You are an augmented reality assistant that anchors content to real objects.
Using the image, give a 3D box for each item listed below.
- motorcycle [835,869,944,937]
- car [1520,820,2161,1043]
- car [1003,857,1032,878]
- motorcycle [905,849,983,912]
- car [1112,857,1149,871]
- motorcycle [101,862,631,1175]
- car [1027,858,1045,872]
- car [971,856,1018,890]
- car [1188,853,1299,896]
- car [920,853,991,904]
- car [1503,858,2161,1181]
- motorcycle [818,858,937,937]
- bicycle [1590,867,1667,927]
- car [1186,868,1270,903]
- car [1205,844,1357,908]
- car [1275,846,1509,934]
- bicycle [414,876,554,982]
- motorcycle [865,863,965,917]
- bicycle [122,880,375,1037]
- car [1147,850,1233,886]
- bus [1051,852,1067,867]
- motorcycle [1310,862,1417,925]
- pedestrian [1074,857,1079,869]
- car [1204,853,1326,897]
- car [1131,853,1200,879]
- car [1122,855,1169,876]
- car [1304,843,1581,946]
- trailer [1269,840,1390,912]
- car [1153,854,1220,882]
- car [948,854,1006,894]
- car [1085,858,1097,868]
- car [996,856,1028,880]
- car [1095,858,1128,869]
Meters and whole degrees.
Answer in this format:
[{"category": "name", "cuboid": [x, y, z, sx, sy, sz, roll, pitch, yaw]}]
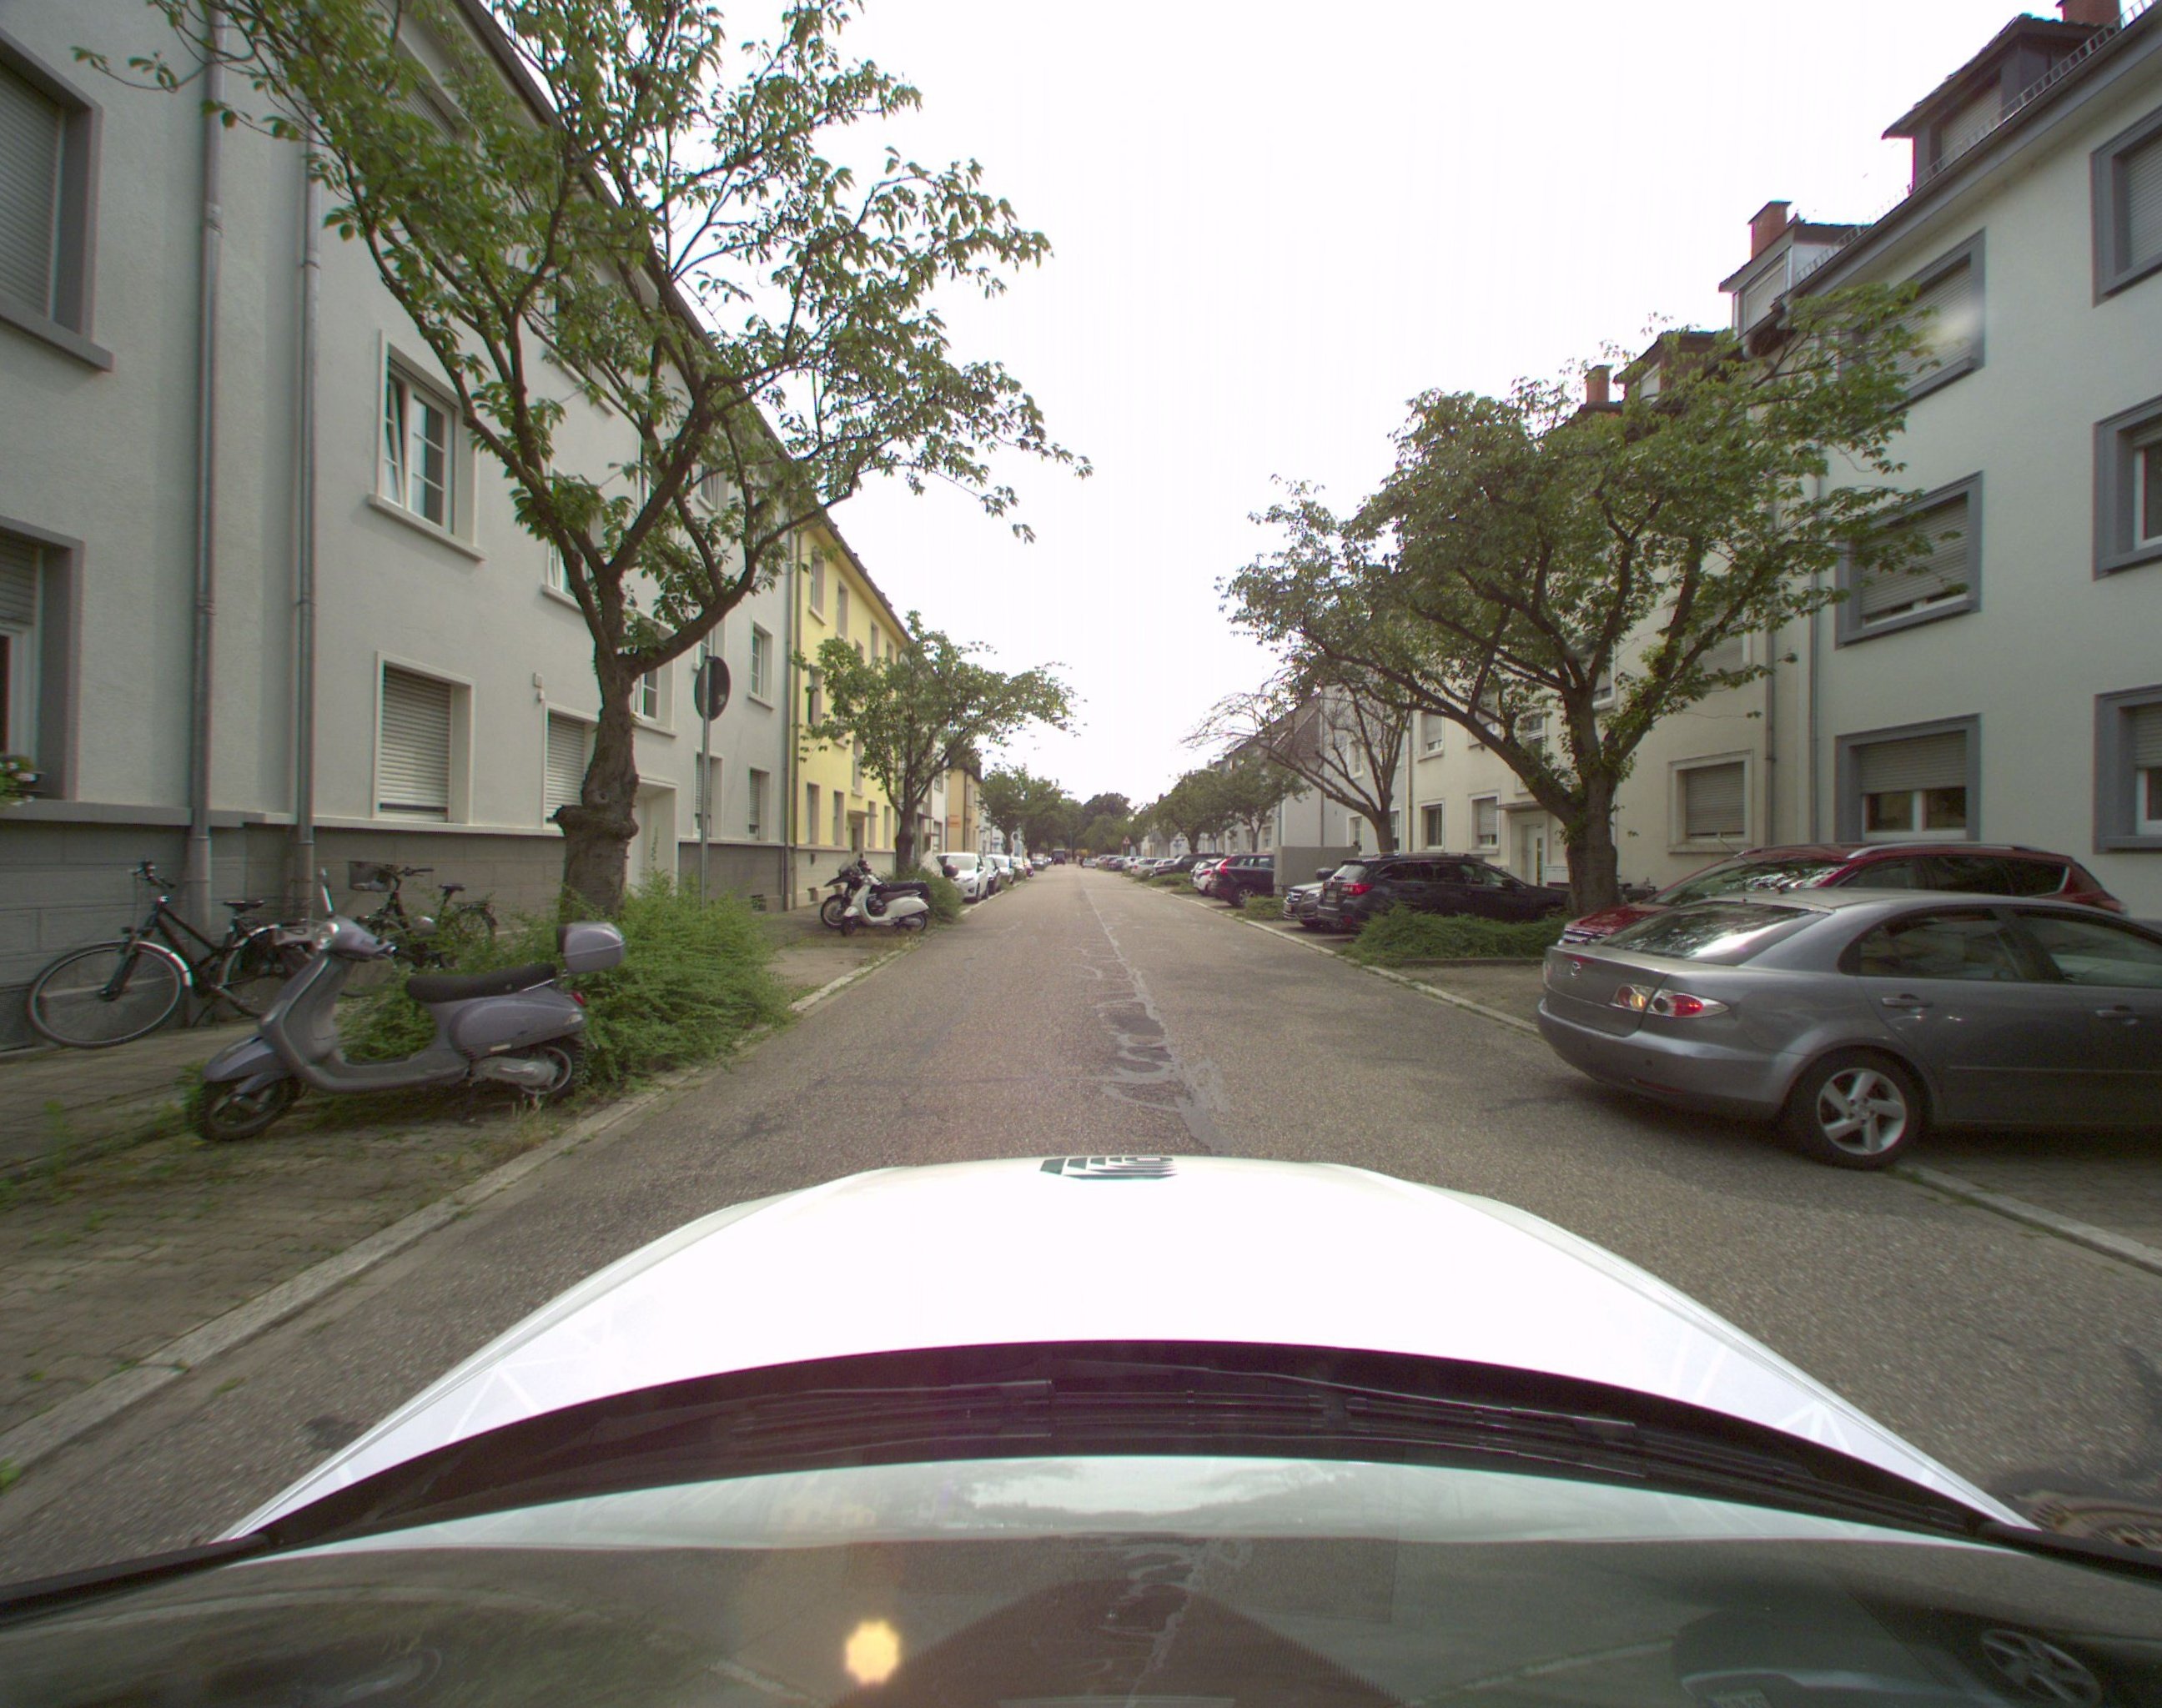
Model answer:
[{"category": "motorcycle", "cuboid": [-3.656, 0.914, 15.622, 1.916, 1.192, 0.591, -2, -1, -28]}, {"category": "car", "cuboid": [6.729, 0.645, 7.600, 4.200, 1.677, 1.904, -2, -1, 1]}, {"category": "car", "cuboid": [-4.823, 1.029, 62.339, 1.871, 1.486, 4.510, -2, -1, -1]}, {"category": "motorcycle", "cuboid": [-3.902, 0.720, 22.995, 0.944, 1.676, 2.443, 0, -1, -44]}, {"category": "car", "cuboid": [5.196, 1.082, 86.222, 3.736, 1.365, 1.772, -2, -1, -1]}, {"category": "motorcycle", "cuboid": [-3.715, 0.785, 4.455, 2.013, 1.407, 0.789, -2, -1, -13]}, {"category": "car", "cuboid": [-5.545, 1.339, 100.742, 1.756, 1.554, 3.733, -2, -1, 2]}, {"category": "car", "cuboid": [-4.371, 0.935, 41.645, 1.912, 1.581, 4.380, -2, -1, -1]}, {"category": "car", "cuboid": [6.432, 0.795, 32.396, 3.979, 1.530, 1.765, -2, -1, -4]}, {"category": "car", "cuboid": [-4.065, 0.765, 26.951, 1.752, 1.556, 4.253, -1, -1, -1]}, {"category": "car", "cuboid": [5.022, 0.821, 4.969, 3.976, 1.455, 1.765, -2, -1, -2]}, {"category": "motorcycle", "cuboid": [-4.127, 0.854, 16.598, 2.244, 1.481, 0.591, -2, -1, -28]}, {"category": "bicycle", "cuboid": [10.561, 0.813, 15.767, 0.501, 1.081, 1.473, -2, -1, 2]}, {"category": "car", "cuboid": [6.766, 1.451, 37.719, 3.534, 1.453, 1.807, -2, -1, -2]}, {"category": "car", "cuboid": [6.081, 0.658, 25.131, 4.200, 1.736, 1.904, -2, -1, 1]}, {"category": "car", "cuboid": [6.462, 0.719, 17.238, 4.206, 1.598, 1.901, -2, -1, -4]}, {"category": "bicycle", "cuboid": [-6.366, 0.764, 8.770, 0.419, 1.006, 1.434, -2, -1, 0]}, {"category": "motorcycle", "cuboid": [-4.324, 0.940, 21.349, 2.441, 1.311, 0.643, -2, -1, -1]}, {"category": "bicycle", "cuboid": [-6.192, 0.719, 6.162, 0.419, 1.006, 1.434, -2, -1, 0]}, {"category": "car", "cuboid": [6.046, 0.778, 45.512, 4.509, 1.858, 1.793, -2, -1, 1]}, {"category": "bus", "cuboid": [-4.307, 1.042, 157.914, 2.996, 2.761, 8.918, -2, -1, -2]}, {"category": "motorcycle", "cuboid": [6.514, 0.903, 18.830, 2.221, 1.409, 0.714, 0, -1, -4]}, {"category": "pedestrian", "cuboid": [-0.640, 1.232, 117.308, 0.520, 1.704, 0.445, -2, -1, 2]}, {"category": "car", "cuboid": [6.662, 0.756, 29.738, 3.979, 1.410, 1.765, -2, -1, -4]}, {"category": "car", "cuboid": [5.842, 0.826, 56.607, 4.600, 1.664, 1.892, -2, -1, -1]}, {"category": "car", "cuboid": [5.552, 0.965, 70.508, 3.911, 1.633, 1.867, -2, -1, -1]}, {"category": "car", "cuboid": [6.475, 0.694, 14.906, 4.206, 1.598, 1.901, -2, -1, -4]}, {"category": "trailer", "cuboid": [6.896, 0.606, 22.771, 2.949, 1.831, 1.401, -2, -1, 2]}, {"category": "car", "cuboid": [6.240, 0.823, 48.394, 3.619, 1.454, 1.770, -2, -1, -5]}, {"category": "car", "cuboid": [-4.156, 0.803, 33.316, 1.785, 1.492, 4.810, 1, -1, -1]}, {"category": "car", "cuboid": [1.464, 1.362, 118.155, 1.682, 1.354, 3.826, -2, -1, 0]}, {"category": "car", "cuboid": [-4.785, 0.962, 56.956, 1.766, 1.392, 4.274, 6, -1, 0]}, {"category": "car", "cuboid": [4.689, 1.423, 126.531, 4.964, 1.518, 1.766, -2, -1, -3]}]
